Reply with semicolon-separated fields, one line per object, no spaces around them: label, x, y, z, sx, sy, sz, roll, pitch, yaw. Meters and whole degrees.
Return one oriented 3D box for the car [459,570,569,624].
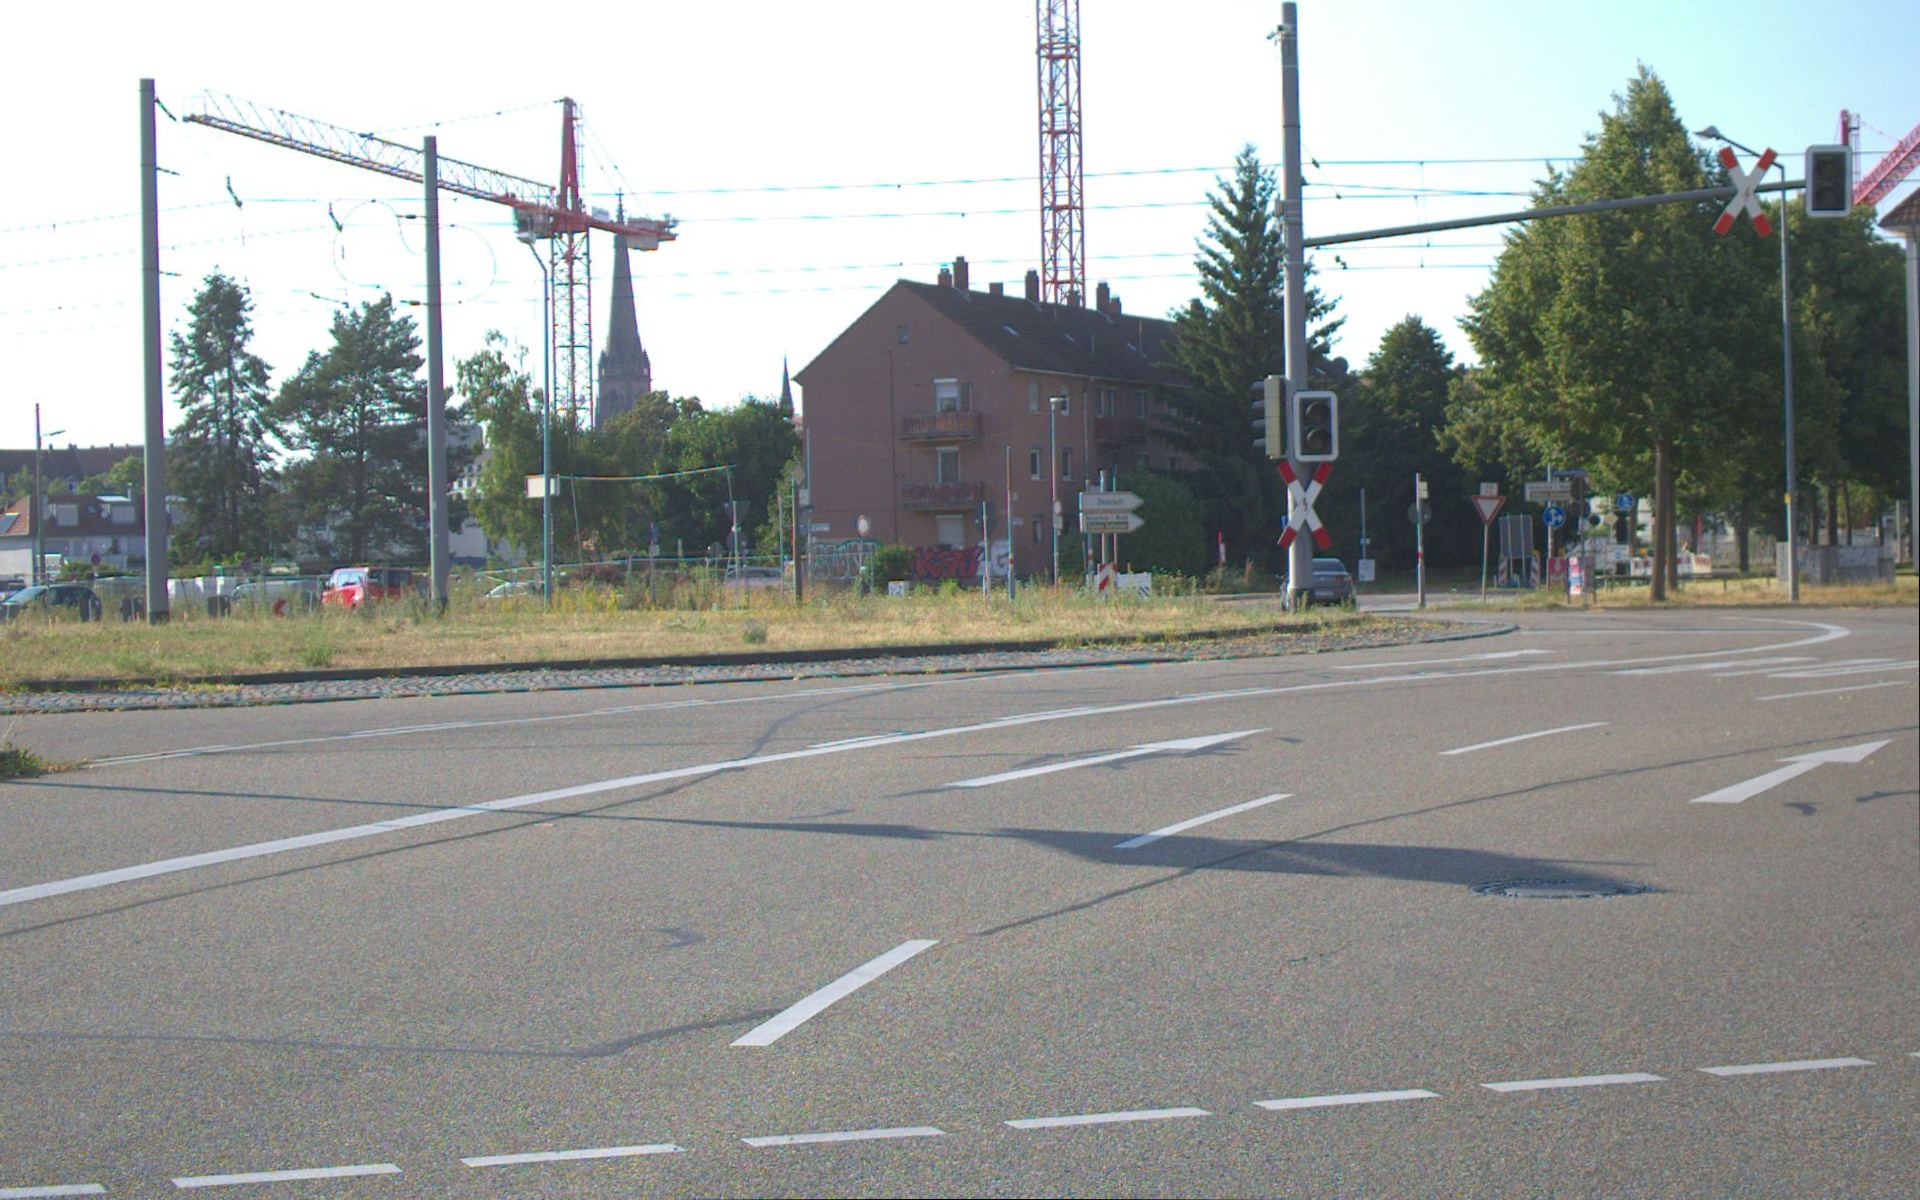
car;-17.191;-0.112;132.493;3.812;2.007;1.670;-1;0;19

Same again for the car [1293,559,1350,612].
car;9.516;-0.400;90.459;1.455;1.295;3.548;-1;1;6

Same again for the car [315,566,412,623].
car;-20.156;-0.207;116.065;1.919;1.847;4.000;-2;1;-30

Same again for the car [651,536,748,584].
car;-11.360;-1.726;149.830;3.812;2.007;1.670;-1;0;19
